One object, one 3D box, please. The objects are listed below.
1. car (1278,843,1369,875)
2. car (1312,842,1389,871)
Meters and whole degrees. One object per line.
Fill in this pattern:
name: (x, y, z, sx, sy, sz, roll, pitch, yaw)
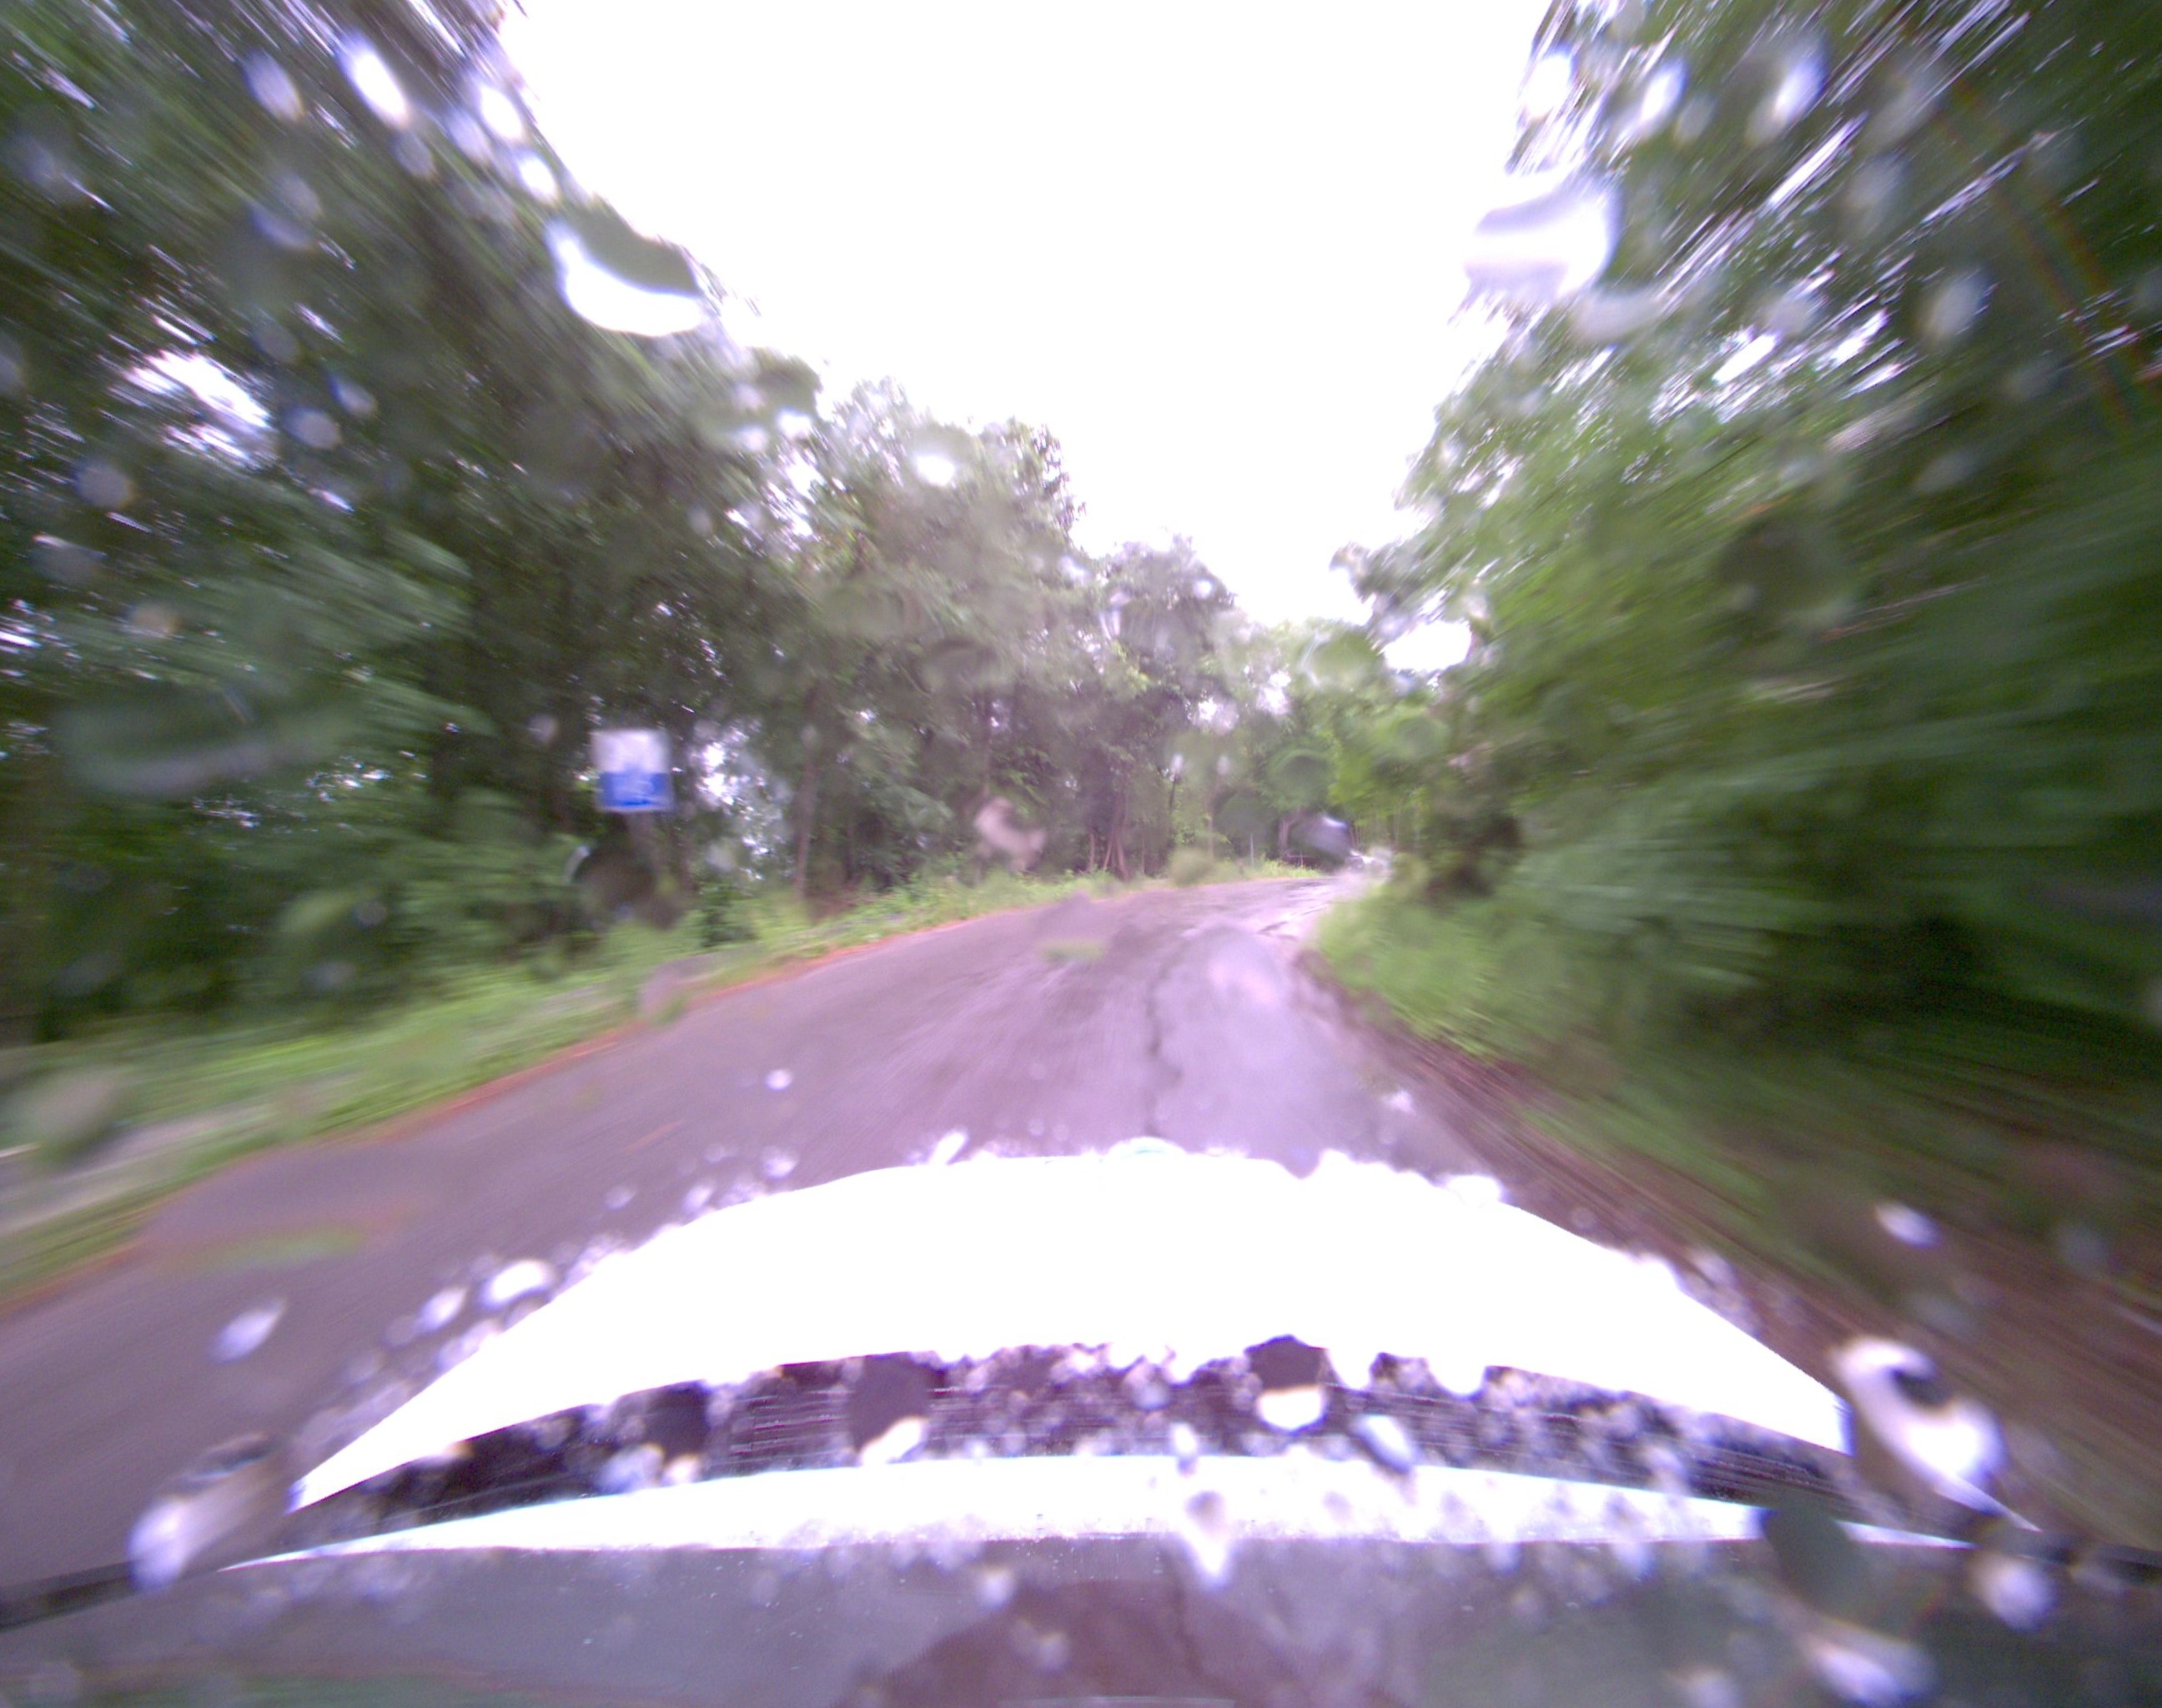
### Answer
car: (14.232, 0.314, 48.008, 1.886, 1.677, 4.783, -3, 0, -40)
car: (16.540, 0.173, 50.092, 1.783, 1.554, 4.101, -3, 0, -39)
